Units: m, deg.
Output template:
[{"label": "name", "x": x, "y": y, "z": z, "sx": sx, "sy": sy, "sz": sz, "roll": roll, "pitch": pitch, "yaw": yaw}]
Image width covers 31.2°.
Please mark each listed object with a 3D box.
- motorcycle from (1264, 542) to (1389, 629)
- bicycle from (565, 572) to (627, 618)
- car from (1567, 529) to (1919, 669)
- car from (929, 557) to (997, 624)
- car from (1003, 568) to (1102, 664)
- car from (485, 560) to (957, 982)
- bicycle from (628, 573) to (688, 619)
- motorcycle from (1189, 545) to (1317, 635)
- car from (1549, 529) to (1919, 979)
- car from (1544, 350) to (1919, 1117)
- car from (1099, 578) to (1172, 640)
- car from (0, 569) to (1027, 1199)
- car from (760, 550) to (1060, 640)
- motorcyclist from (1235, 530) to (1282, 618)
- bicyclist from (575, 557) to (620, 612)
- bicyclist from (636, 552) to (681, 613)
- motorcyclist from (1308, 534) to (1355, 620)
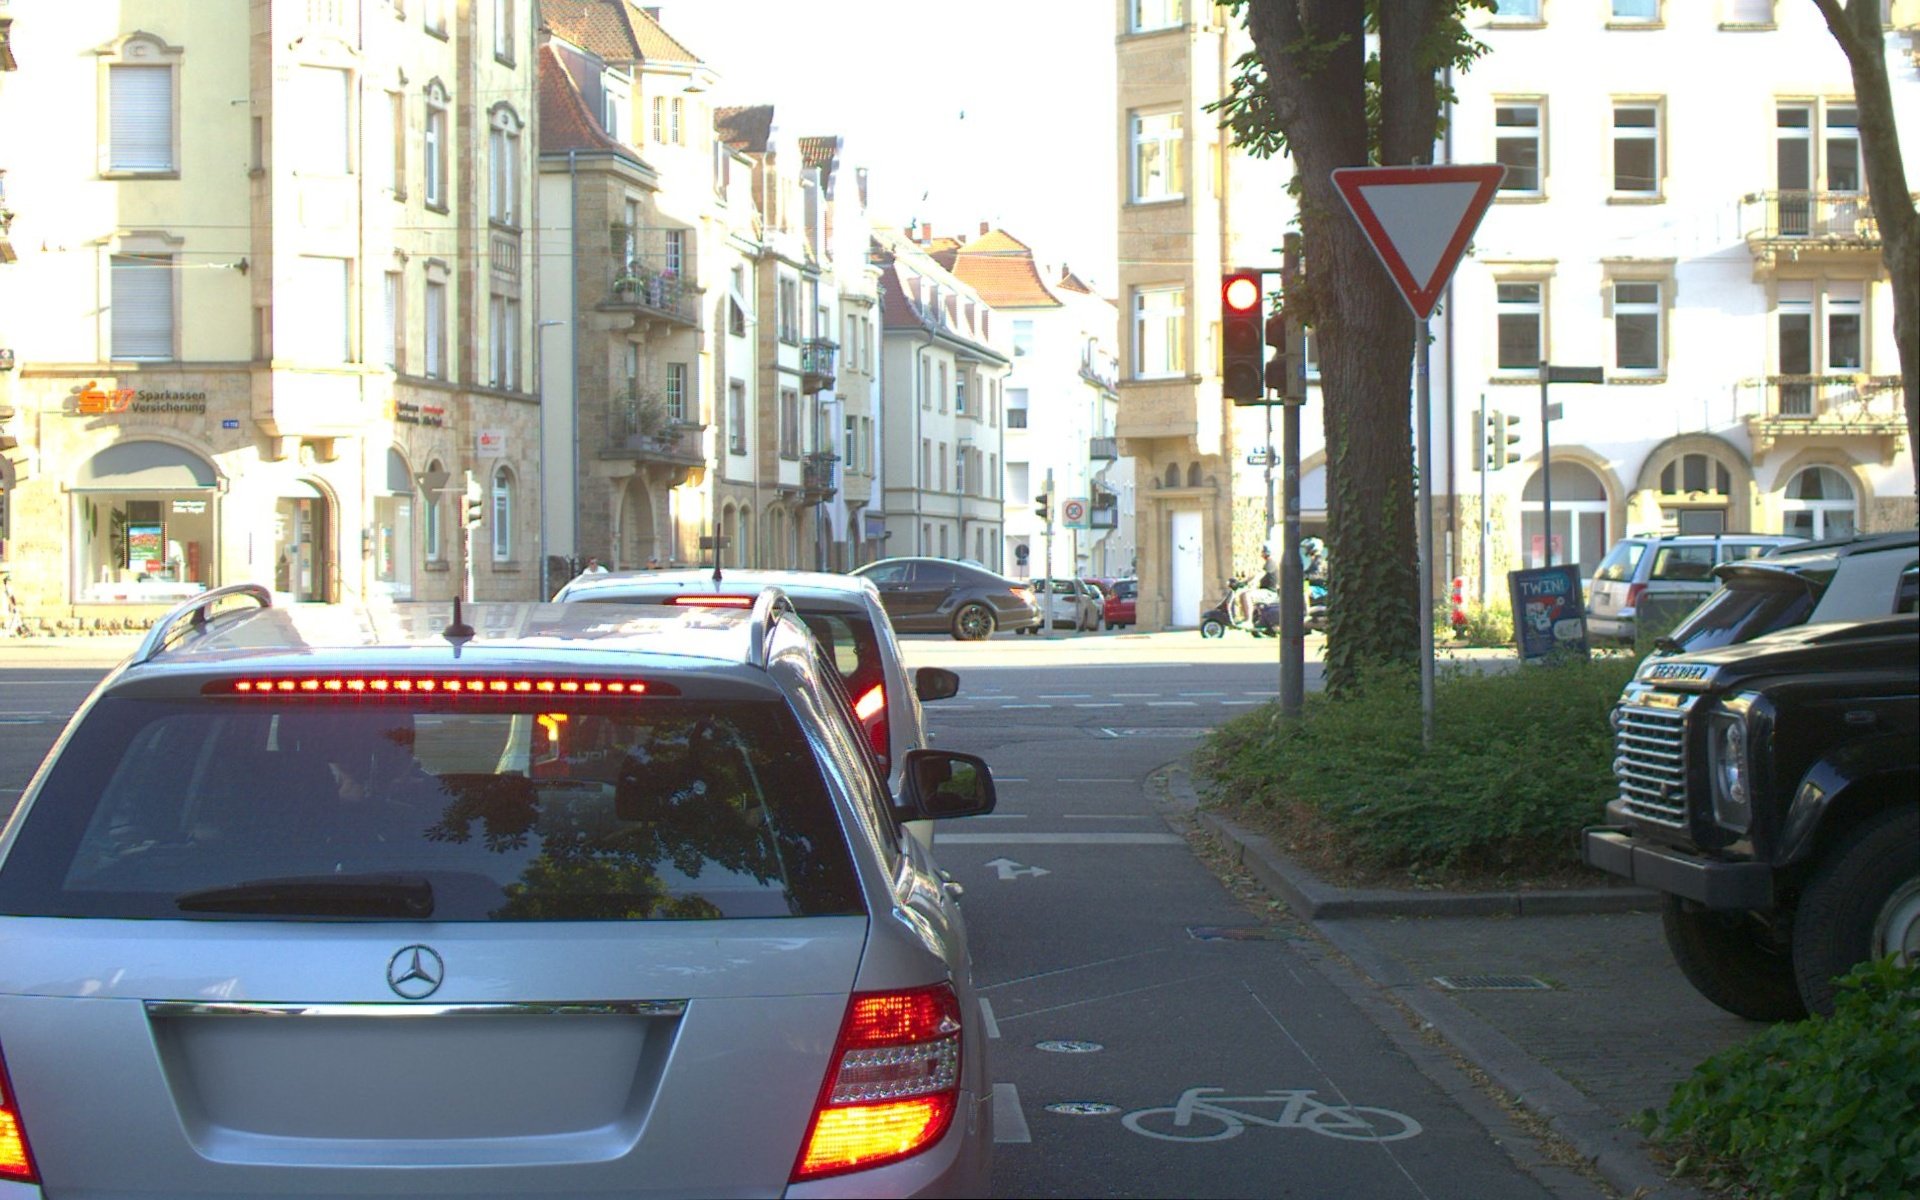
[{"label": "motorcycle", "x": 6.218, "y": -0.256, "z": 58.344, "sx": 2.033, "sy": 1.447, "sz": 0.568, "roll": -1, "pitch": 1, "yaw": -4}, {"label": "bicycle", "x": -7.765, "y": -0.105, "z": 73.384, "sx": 0.771, "sy": 0.936, "sz": 1.939, "roll": 1, "pitch": 1, "yaw": 11}, {"label": "car", "x": 9.111, "y": -0.034, "z": 38.239, "sx": 4.344, "sy": 1.491, "sz": 1.662, "roll": 0, "pitch": 1, "yaw": -7}, {"label": "car", "x": 0.132, "y": -0.329, "z": 117.348, "sx": 1.787, "sy": 2.196, "sz": 3.999, "roll": 0, "pitch": 1, "yaw": 8}, {"label": "car", "x": 2.344, "y": 0.370, "z": 85.898, "sx": 2.031, "sy": 2.272, "sz": 3.999, "roll": 0, "pitch": 1, "yaw": 8}, {"label": "car", "x": -0.908, "y": 0.569, "z": 14.049, "sx": 1.619, "sy": 1.442, "sz": 4.345, "roll": 0, "pitch": 1, "yaw": -2}, {"label": "bicycle", "x": -6.441, "y": -0.094, "z": 73.472, "sx": 0.771, "sy": 0.931, "sz": 1.939, "roll": 1, "pitch": 1, "yaw": 11}, {"label": "motorcycle", "x": 4.829, "y": -0.170, "z": 56.789, "sx": 2.033, "sy": 1.447, "sz": 0.568, "roll": -1, "pitch": 1, "yaw": -4}, {"label": "car", "x": 4.297, "y": 0.503, "z": 13.089, "sx": 3.723, "sy": 1.564, "sz": 1.709, "roll": -1, "pitch": 0, "yaw": -4}, {"label": "car", "x": 4.142, "y": 0.302, "z": 10.120, "sx": 4.465, "sy": 2.029, "sz": 1.701, "roll": -1, "pitch": 0, "yaw": -3}, {"label": "car", "x": 5.220, "y": 0.241, "z": 101.930, "sx": 1.835, "sy": 1.738, "sz": 3.999, "roll": 0, "pitch": 1, "yaw": 8}, {"label": "car", "x": -0.891, "y": 0.678, "z": 6.959, "sx": 1.777, "sy": 1.447, "sz": 4.548, "roll": 0, "pitch": 1, "yaw": -2}, {"label": "car", "x": -0.865, "y": -0.100, "z": 57.074, "sx": 4.883, "sy": 1.447, "sz": 1.859, "roll": 0, "pitch": 1, "yaw": -4}, {"label": "motorcyclist", "x": 4.924, "y": -0.433, "z": 56.792, "sx": 0.681, "sy": 1.447, "sz": 0.568, "roll": -1, "pitch": 1, "yaw": -4}, {"label": "bicyclist", "x": -7.747, "y": -0.327, "z": 73.458, "sx": 0.771, "sy": 1.152, "sz": 0.752, "roll": 1, "pitch": 1, "yaw": 11}, {"label": "bicyclist", "x": -6.440, "y": -0.387, "z": 73.468, "sx": 0.771, "sy": 1.285, "sz": 0.752, "roll": 1, "pitch": 1, "yaw": 11}, {"label": "motorcyclist", "x": 6.303, "y": -0.394, "z": 58.348, "sx": 0.681, "sy": 1.447, "sz": 0.568, "roll": -1, "pitch": 1, "yaw": -4}]
